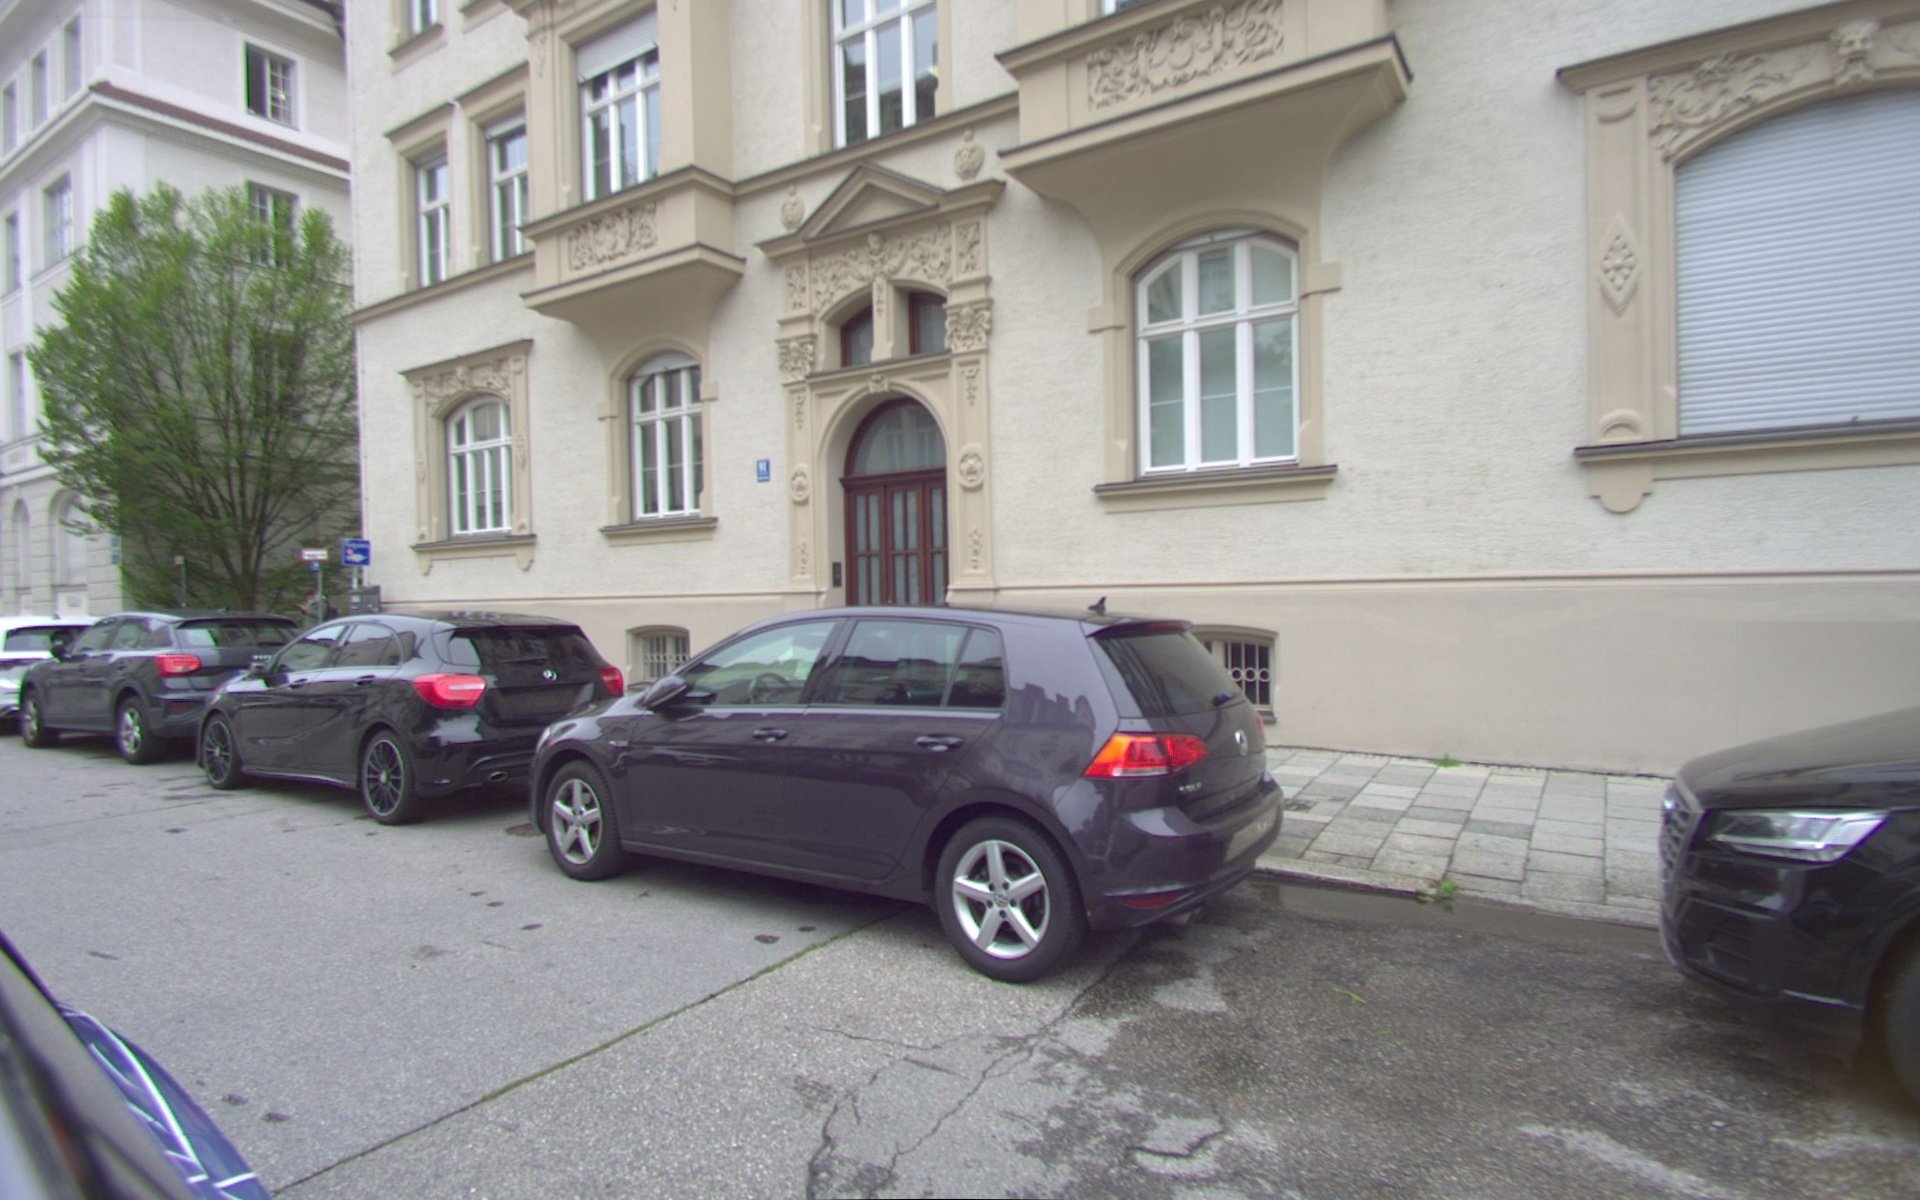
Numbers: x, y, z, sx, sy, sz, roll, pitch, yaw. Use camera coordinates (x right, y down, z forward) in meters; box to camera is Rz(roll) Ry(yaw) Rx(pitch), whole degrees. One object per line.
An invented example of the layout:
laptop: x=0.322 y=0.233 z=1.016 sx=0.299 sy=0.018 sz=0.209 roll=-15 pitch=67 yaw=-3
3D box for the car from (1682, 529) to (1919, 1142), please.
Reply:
car: x=4.189 y=0.551 z=2.325 sx=4.008 sy=1.511 sz=1.739 roll=-2 pitch=-2 yaw=34

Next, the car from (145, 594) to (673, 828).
car: x=-4.617 y=0.754 z=8.261 sx=4.538 sy=1.445 sz=1.819 roll=-2 pitch=-2 yaw=32

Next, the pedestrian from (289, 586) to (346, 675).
pedestrian: x=-12.165 y=0.571 z=19.178 sx=0.628 sy=1.638 sz=0.668 roll=-1 pitch=0 yaw=30

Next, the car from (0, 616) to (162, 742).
car: x=-12.522 y=0.969 z=13.352 sx=4.230 sy=1.445 sz=1.822 roll=-2 pitch=-2 yaw=32

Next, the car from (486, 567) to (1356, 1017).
car: x=-0.386 y=0.695 z=5.223 sx=4.233 sy=1.447 sz=1.821 roll=-2 pitch=-3 yaw=34

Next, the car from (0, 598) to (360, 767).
car: x=-8.672 y=0.837 z=11.096 sx=4.369 sy=1.530 sz=1.757 roll=-2 pitch=-3 yaw=32
